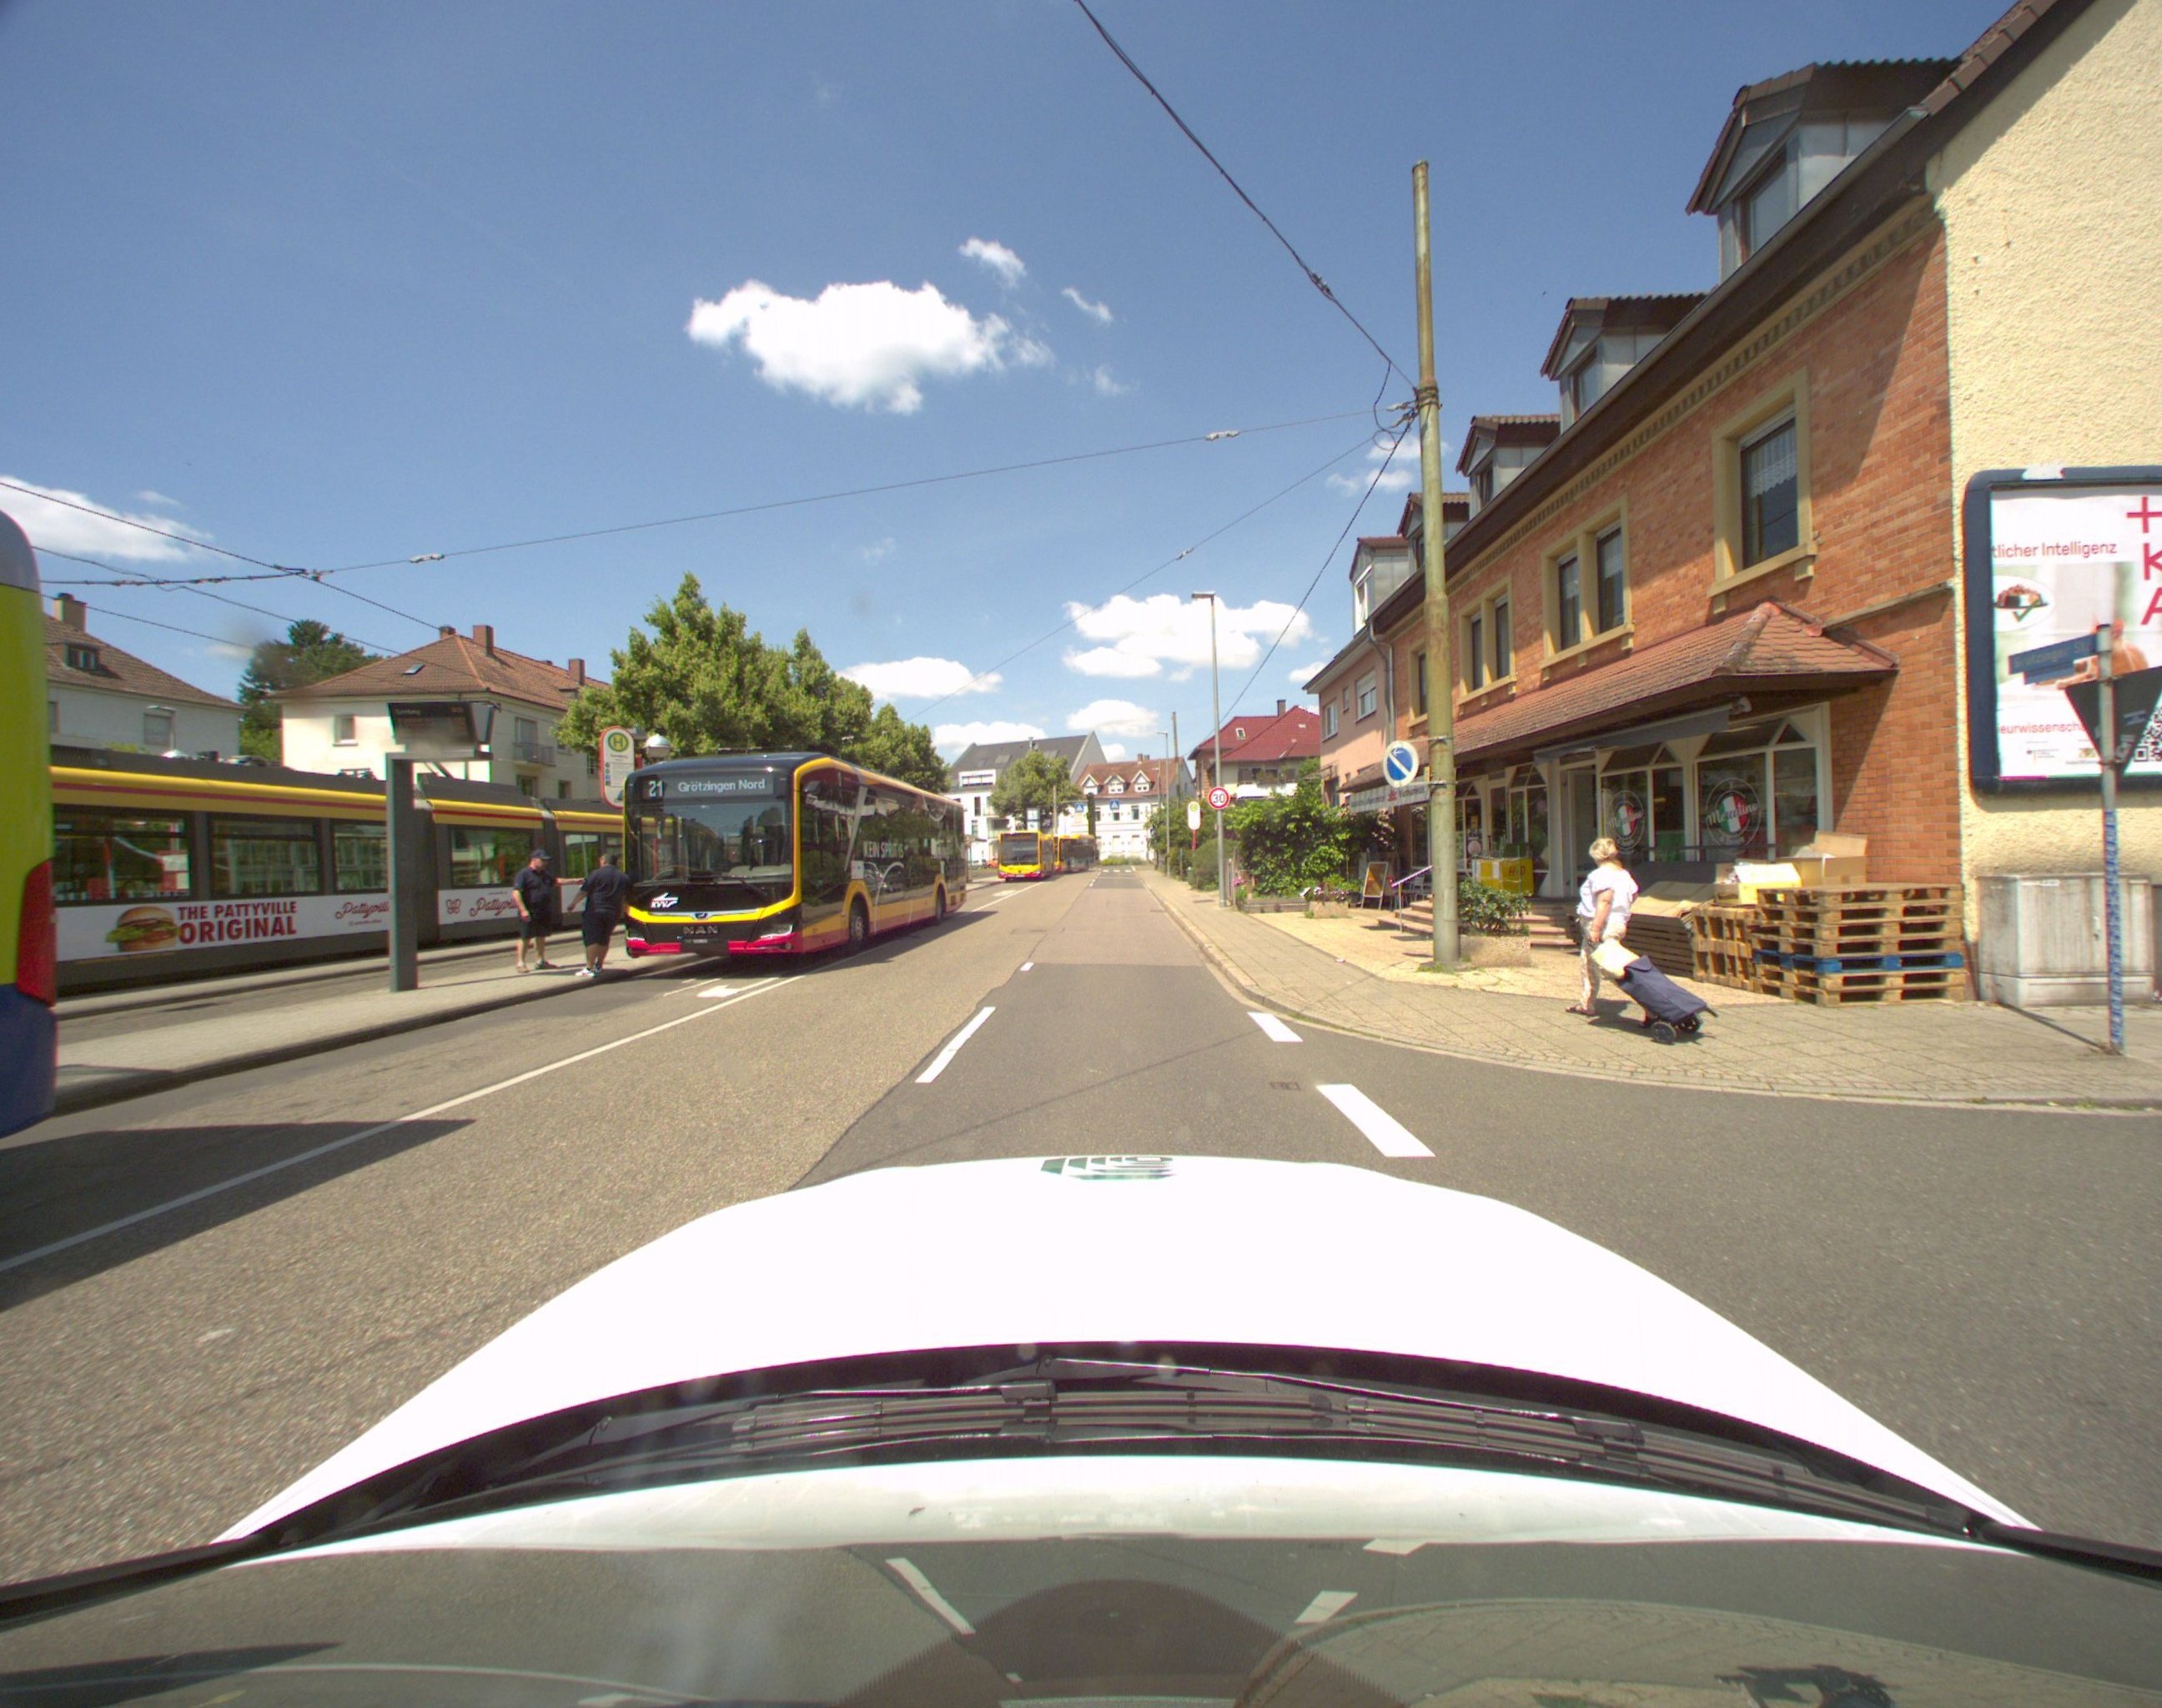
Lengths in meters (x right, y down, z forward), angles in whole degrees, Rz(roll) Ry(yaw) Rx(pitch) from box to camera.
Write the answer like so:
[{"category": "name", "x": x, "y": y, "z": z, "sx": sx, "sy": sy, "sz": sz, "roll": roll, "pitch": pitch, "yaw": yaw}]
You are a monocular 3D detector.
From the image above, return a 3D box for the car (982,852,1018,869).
[{"category": "car", "x": -9.904, "y": 0.850, "z": 99.422, "sx": 3.949, "sy": 2.014, "sz": 2.012, "roll": 0, "pitch": -2, "yaw": 31}]

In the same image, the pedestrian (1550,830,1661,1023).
[{"category": "pedestrian", "x": 4.729, "y": 0.623, "z": 7.392, "sx": 0.698, "sy": 1.641, "sz": 0.663, "roll": -2, "pitch": 1, "yaw": 23}]

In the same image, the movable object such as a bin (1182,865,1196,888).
[{"category": "movable object such as a bin", "x": 4.495, "y": 0.947, "z": 33.804, "sx": 0.405, "sy": 0.907, "sz": 0.729, "roll": -5, "pitch": -1, "yaw": -1}]

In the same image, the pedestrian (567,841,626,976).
[{"category": "pedestrian", "x": -6.557, "y": 0.722, "z": 11.037, "sx": 0.597, "sy": 1.777, "sz": 0.381, "roll": 2, "pitch": -2, "yaw": -40}]

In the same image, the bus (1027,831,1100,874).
[{"category": "bus", "x": -1.177, "y": -0.169, "z": 66.727, "sx": 2.760, "sy": 3.208, "sz": 12.354, "roll": 0, "pitch": 1, "yaw": 14}]

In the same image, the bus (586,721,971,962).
[{"category": "bus", "x": -4.906, "y": -0.041, "z": 17.084, "sx": 2.886, "sy": 3.248, "sz": 12.204, "roll": 0, "pitch": -1, "yaw": 3}]

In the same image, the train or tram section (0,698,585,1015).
[{"category": "train or tram section", "x": -13.844, "y": 0.029, "z": 10.980, "sx": 2.951, "sy": 3.643, "sz": 17.362, "roll": 0, "pitch": 0, "yaw": 3}]

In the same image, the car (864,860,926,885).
[{"category": "car", "x": -10.532, "y": 1.035, "z": 46.065, "sx": 3.286, "sy": 1.373, "sz": 1.460, "roll": 1, "pitch": -2, "yaw": -18}]

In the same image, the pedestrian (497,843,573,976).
[{"category": "pedestrian", "x": -7.602, "y": 0.750, "z": 11.335, "sx": 0.787, "sy": 1.777, "sz": 0.567, "roll": 2, "pitch": -2, "yaw": -40}]

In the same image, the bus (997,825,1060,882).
[{"category": "bus", "x": -3.206, "y": 0.006, "z": 53.292, "sx": 2.896, "sy": 3.248, "sz": 12.124, "roll": 0, "pitch": 0, "yaw": 2}]

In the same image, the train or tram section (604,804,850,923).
[{"category": "train or tram section", "x": -12.885, "y": 0.339, "z": 32.058, "sx": 2.951, "sy": 3.643, "sz": 14.002, "roll": 0, "pitch": 0, "yaw": 3}]
